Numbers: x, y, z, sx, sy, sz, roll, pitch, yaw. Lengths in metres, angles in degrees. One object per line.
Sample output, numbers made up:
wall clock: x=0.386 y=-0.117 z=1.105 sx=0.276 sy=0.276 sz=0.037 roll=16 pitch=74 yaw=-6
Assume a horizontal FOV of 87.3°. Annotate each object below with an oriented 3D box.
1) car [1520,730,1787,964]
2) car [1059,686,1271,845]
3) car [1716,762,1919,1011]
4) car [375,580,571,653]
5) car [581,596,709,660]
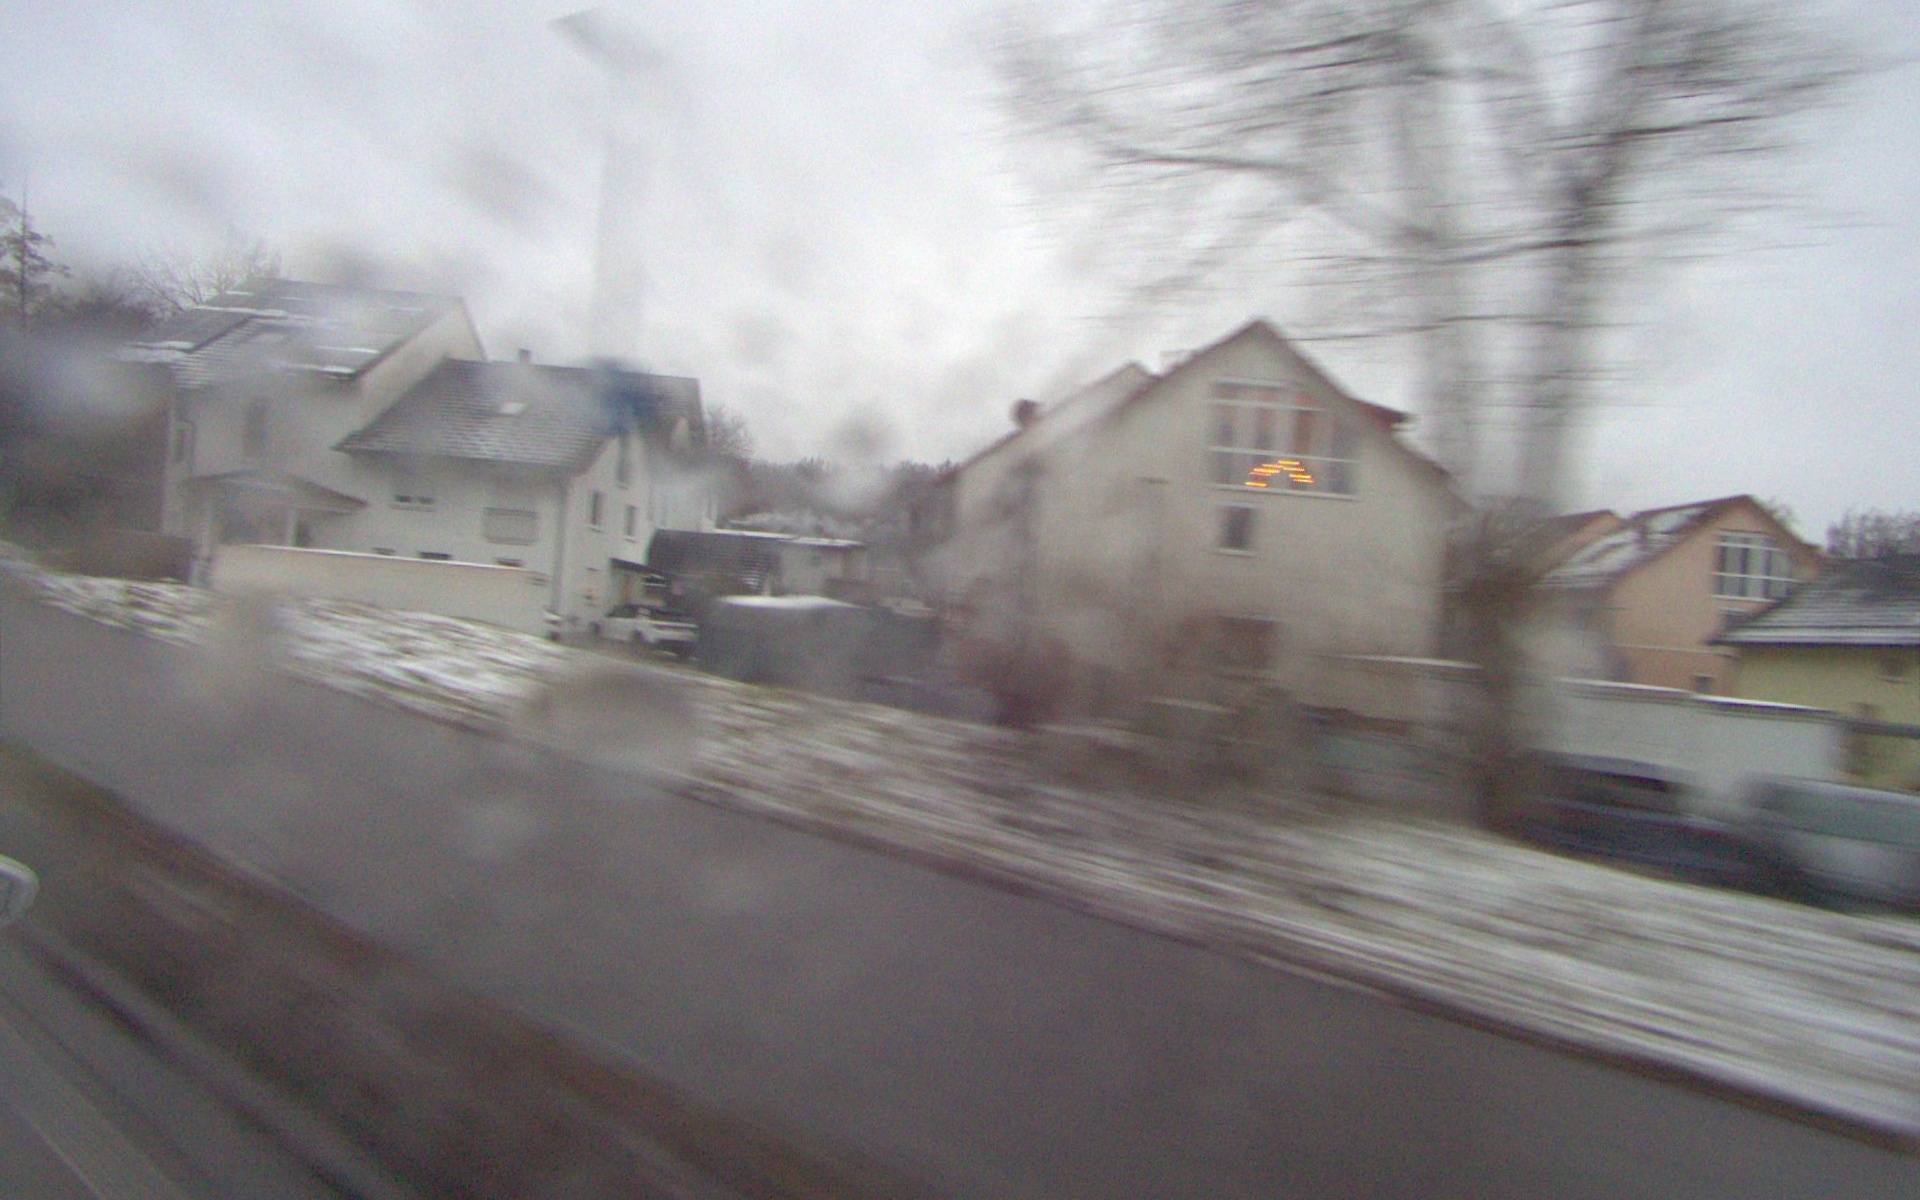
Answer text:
car: x=7.361 y=2.481 z=11.080 sx=1.772 sy=1.616 sz=3.790 roll=7 pitch=0 yaw=27
car: x=2.995 y=2.149 z=14.059 sx=1.772 sy=1.616 sz=3.790 roll=7 pitch=0 yaw=27
car: x=8.907 y=2.673 z=9.720 sx=1.772 sy=1.616 sz=3.790 roll=7 pitch=0 yaw=27
car: x=-14.318 y=0.484 z=29.897 sx=4.835 sy=1.506 sz=1.946 roll=8 pitch=0 yaw=-17
car: x=-10.775 y=0.936 z=34.306 sx=4.272 sy=1.611 sz=1.946 roll=7 pitch=0 yaw=38
